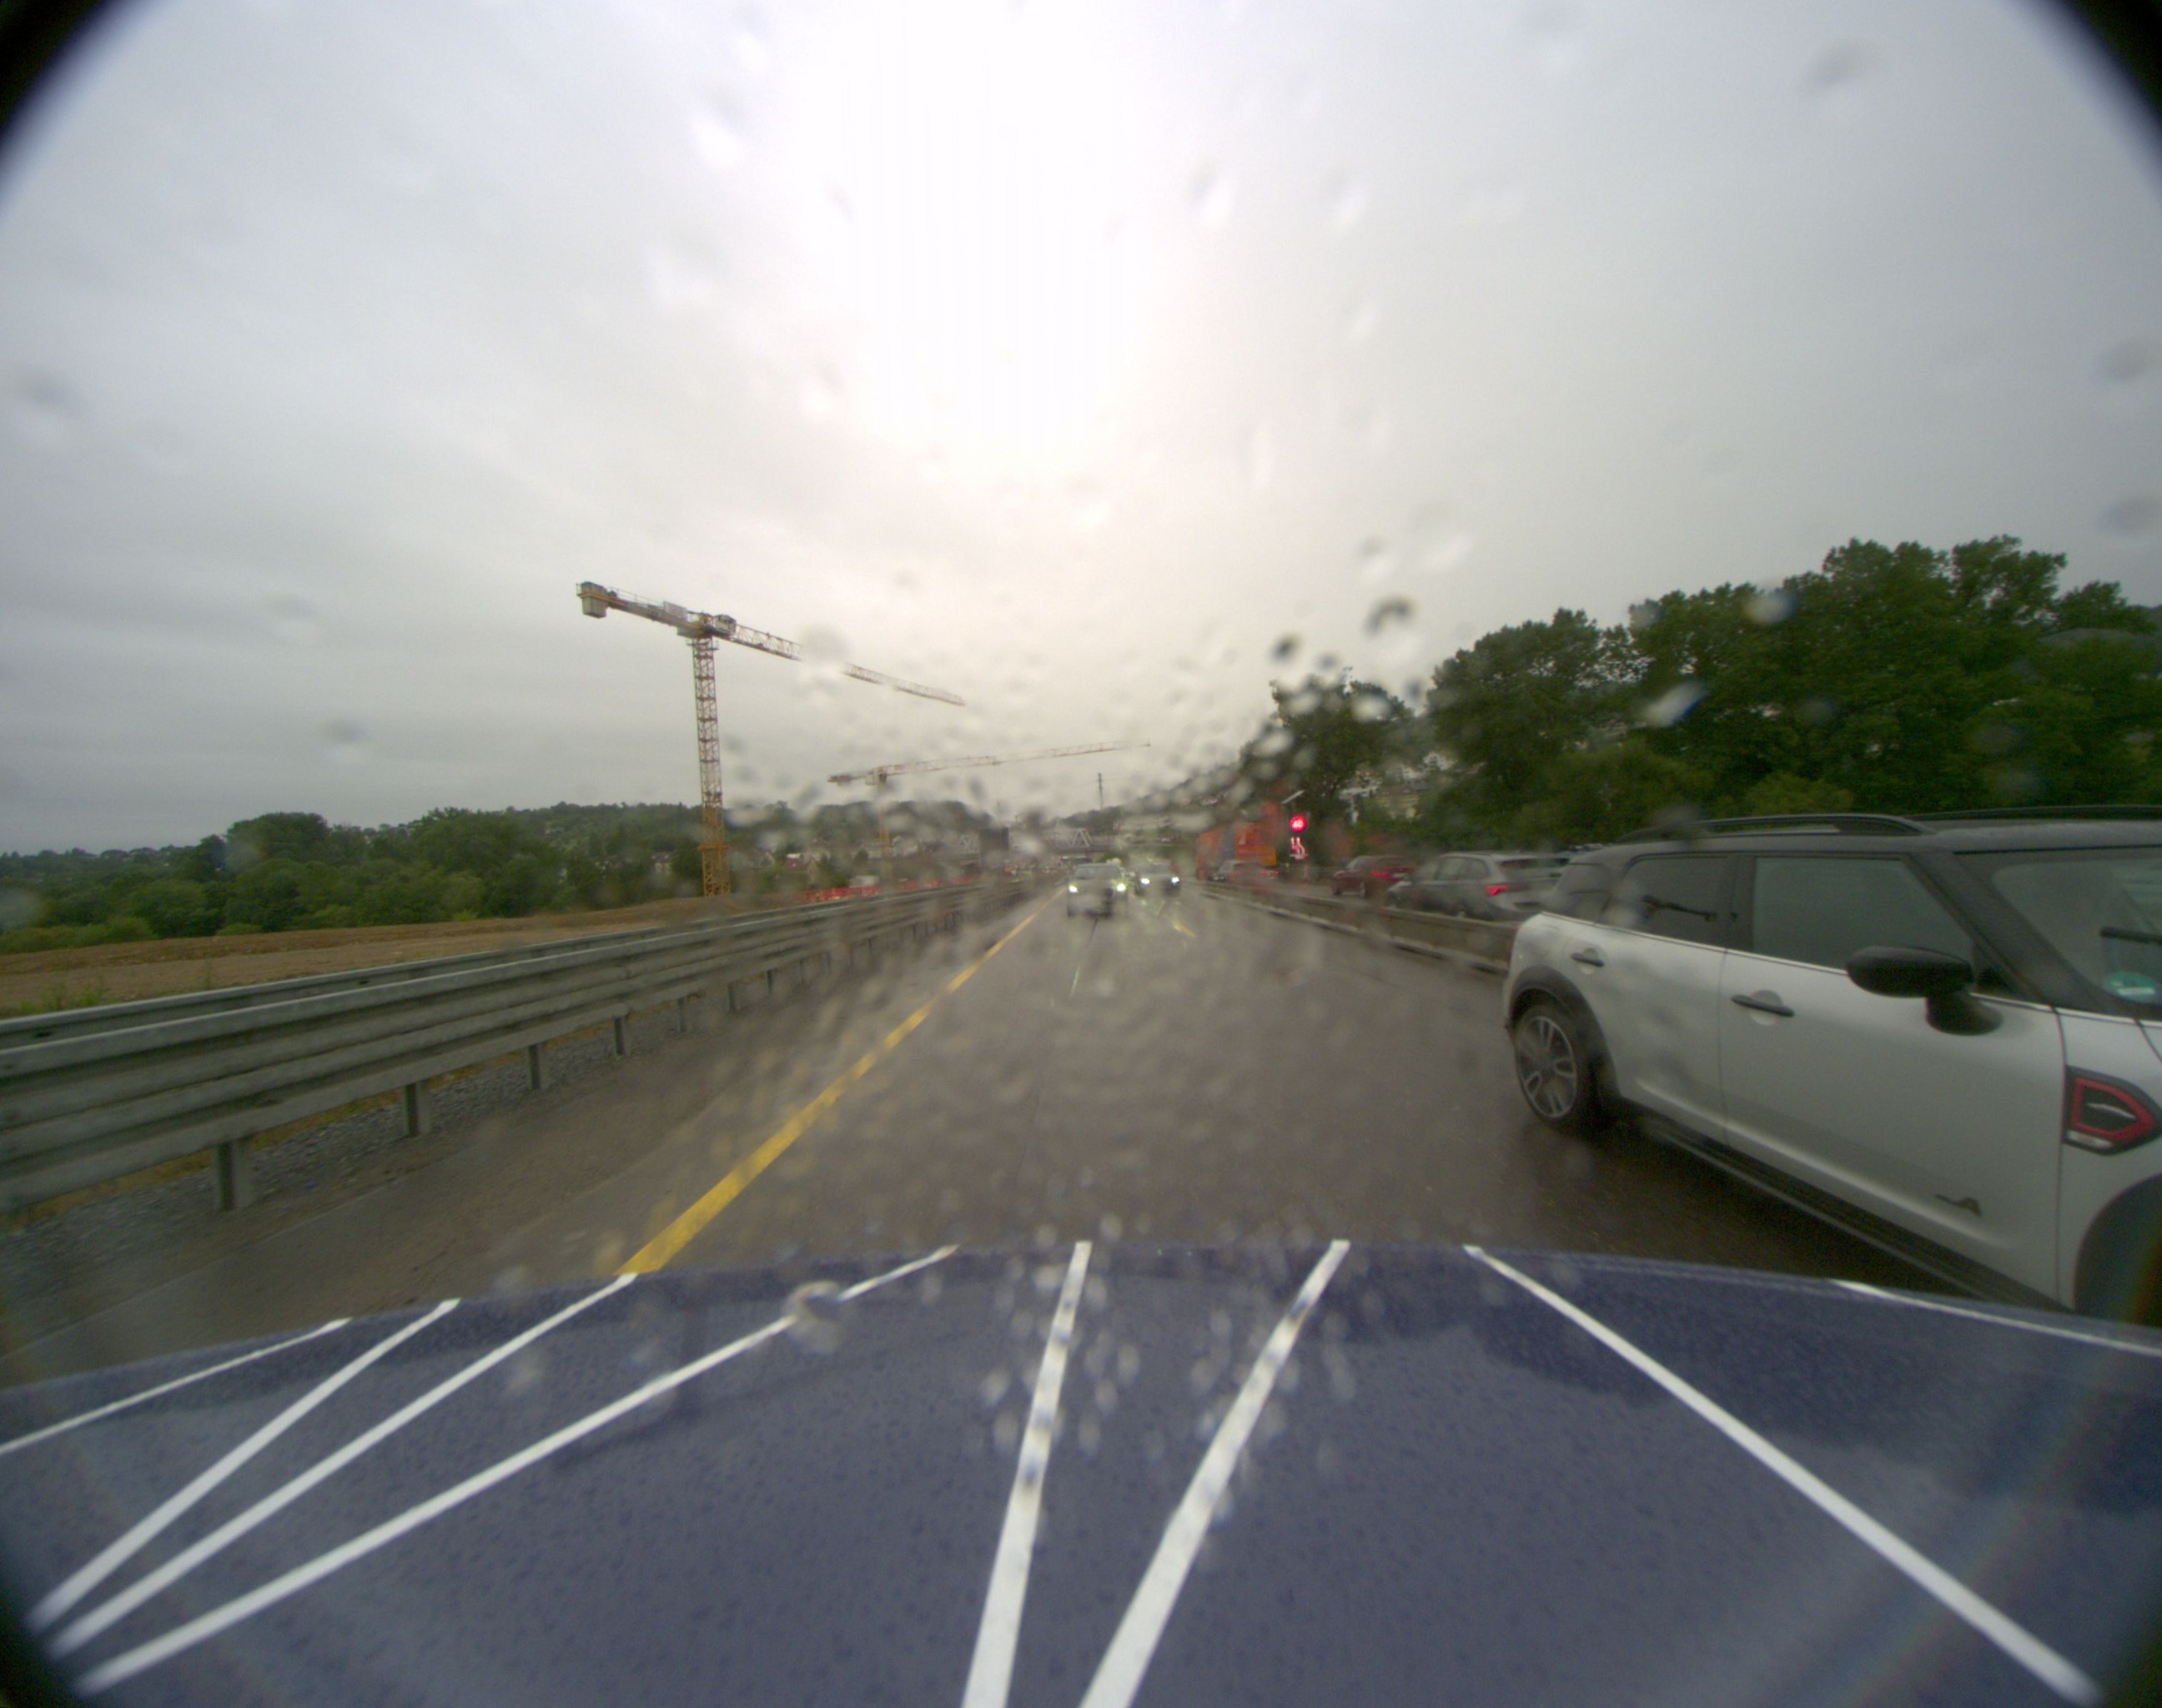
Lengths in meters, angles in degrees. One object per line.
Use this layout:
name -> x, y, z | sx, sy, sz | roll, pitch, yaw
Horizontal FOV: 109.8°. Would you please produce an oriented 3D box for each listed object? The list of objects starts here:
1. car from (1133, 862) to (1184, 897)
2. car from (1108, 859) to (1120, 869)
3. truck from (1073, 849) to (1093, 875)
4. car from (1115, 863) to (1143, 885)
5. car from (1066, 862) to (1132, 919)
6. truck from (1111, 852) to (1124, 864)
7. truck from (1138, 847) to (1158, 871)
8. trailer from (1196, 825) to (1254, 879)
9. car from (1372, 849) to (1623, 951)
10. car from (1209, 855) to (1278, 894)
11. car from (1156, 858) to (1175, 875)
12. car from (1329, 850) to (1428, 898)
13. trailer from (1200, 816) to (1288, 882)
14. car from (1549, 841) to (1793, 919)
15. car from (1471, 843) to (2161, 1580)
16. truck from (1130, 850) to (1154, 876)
car -> 3.581, 1.155, 35.926 | 1.951, 1.430, 4.483 | -2, 0, 1
car -> 6.667, 2.021, 152.657 | 2.165, 2.001, 4.479 | 0, 0, 1
truck -> 0.342, 1.086, 106.254 | 2.576, 3.450, 6.626 | -2, 0, 1
car -> 3.456, 1.456, 55.730 | 1.781, 1.430, 4.483 | -2, 0, 1
car -> 0.527, 1.051, 23.277 | 1.781, 1.514, 4.141 | -2, 0, 1
truck -> 9.261, 1.055, 191.678 | 2.800, 2.769, 5.497 | -2, 0, 0
truck -> 10.604, 0.794, 121.011 | 2.608, 3.605, 6.539 | -2, 0, 1
trailer -> 11.127, -0.120, 59.339 | 3.278, 3.895, 6.352 | -2, -1, 1
car -> 6.721, 0.688, 12.917 | 1.912, 1.440, 4.412 | 0, -1, 1
car -> 7.121, 0.856, 33.804 | 1.978, 1.501, 4.745 | -2, 0, -1
car -> 10.566, 1.536, 95.324 | 1.907, 2.002, 3.999 | 1, 1, 1
car -> 10.450, 0.663, 27.060 | 1.822, 1.501, 4.306 | -2, 0, 1
trailer -> 11.043, -0.209, 53.322 | 3.285, 3.885, 13.700 | -2, -1, 1
car -> 13.466, 0.515, 17.828 | 1.998, 1.501, 4.746 | -2, 0, 0
car -> 3.286, 0.786, 2.465 | 1.820, 1.591, 4.308 | -2, 0, 1
truck -> 7.385, 1.071, 92.650 | 2.413, 2.976, 6.539 | -2, 0, 1
